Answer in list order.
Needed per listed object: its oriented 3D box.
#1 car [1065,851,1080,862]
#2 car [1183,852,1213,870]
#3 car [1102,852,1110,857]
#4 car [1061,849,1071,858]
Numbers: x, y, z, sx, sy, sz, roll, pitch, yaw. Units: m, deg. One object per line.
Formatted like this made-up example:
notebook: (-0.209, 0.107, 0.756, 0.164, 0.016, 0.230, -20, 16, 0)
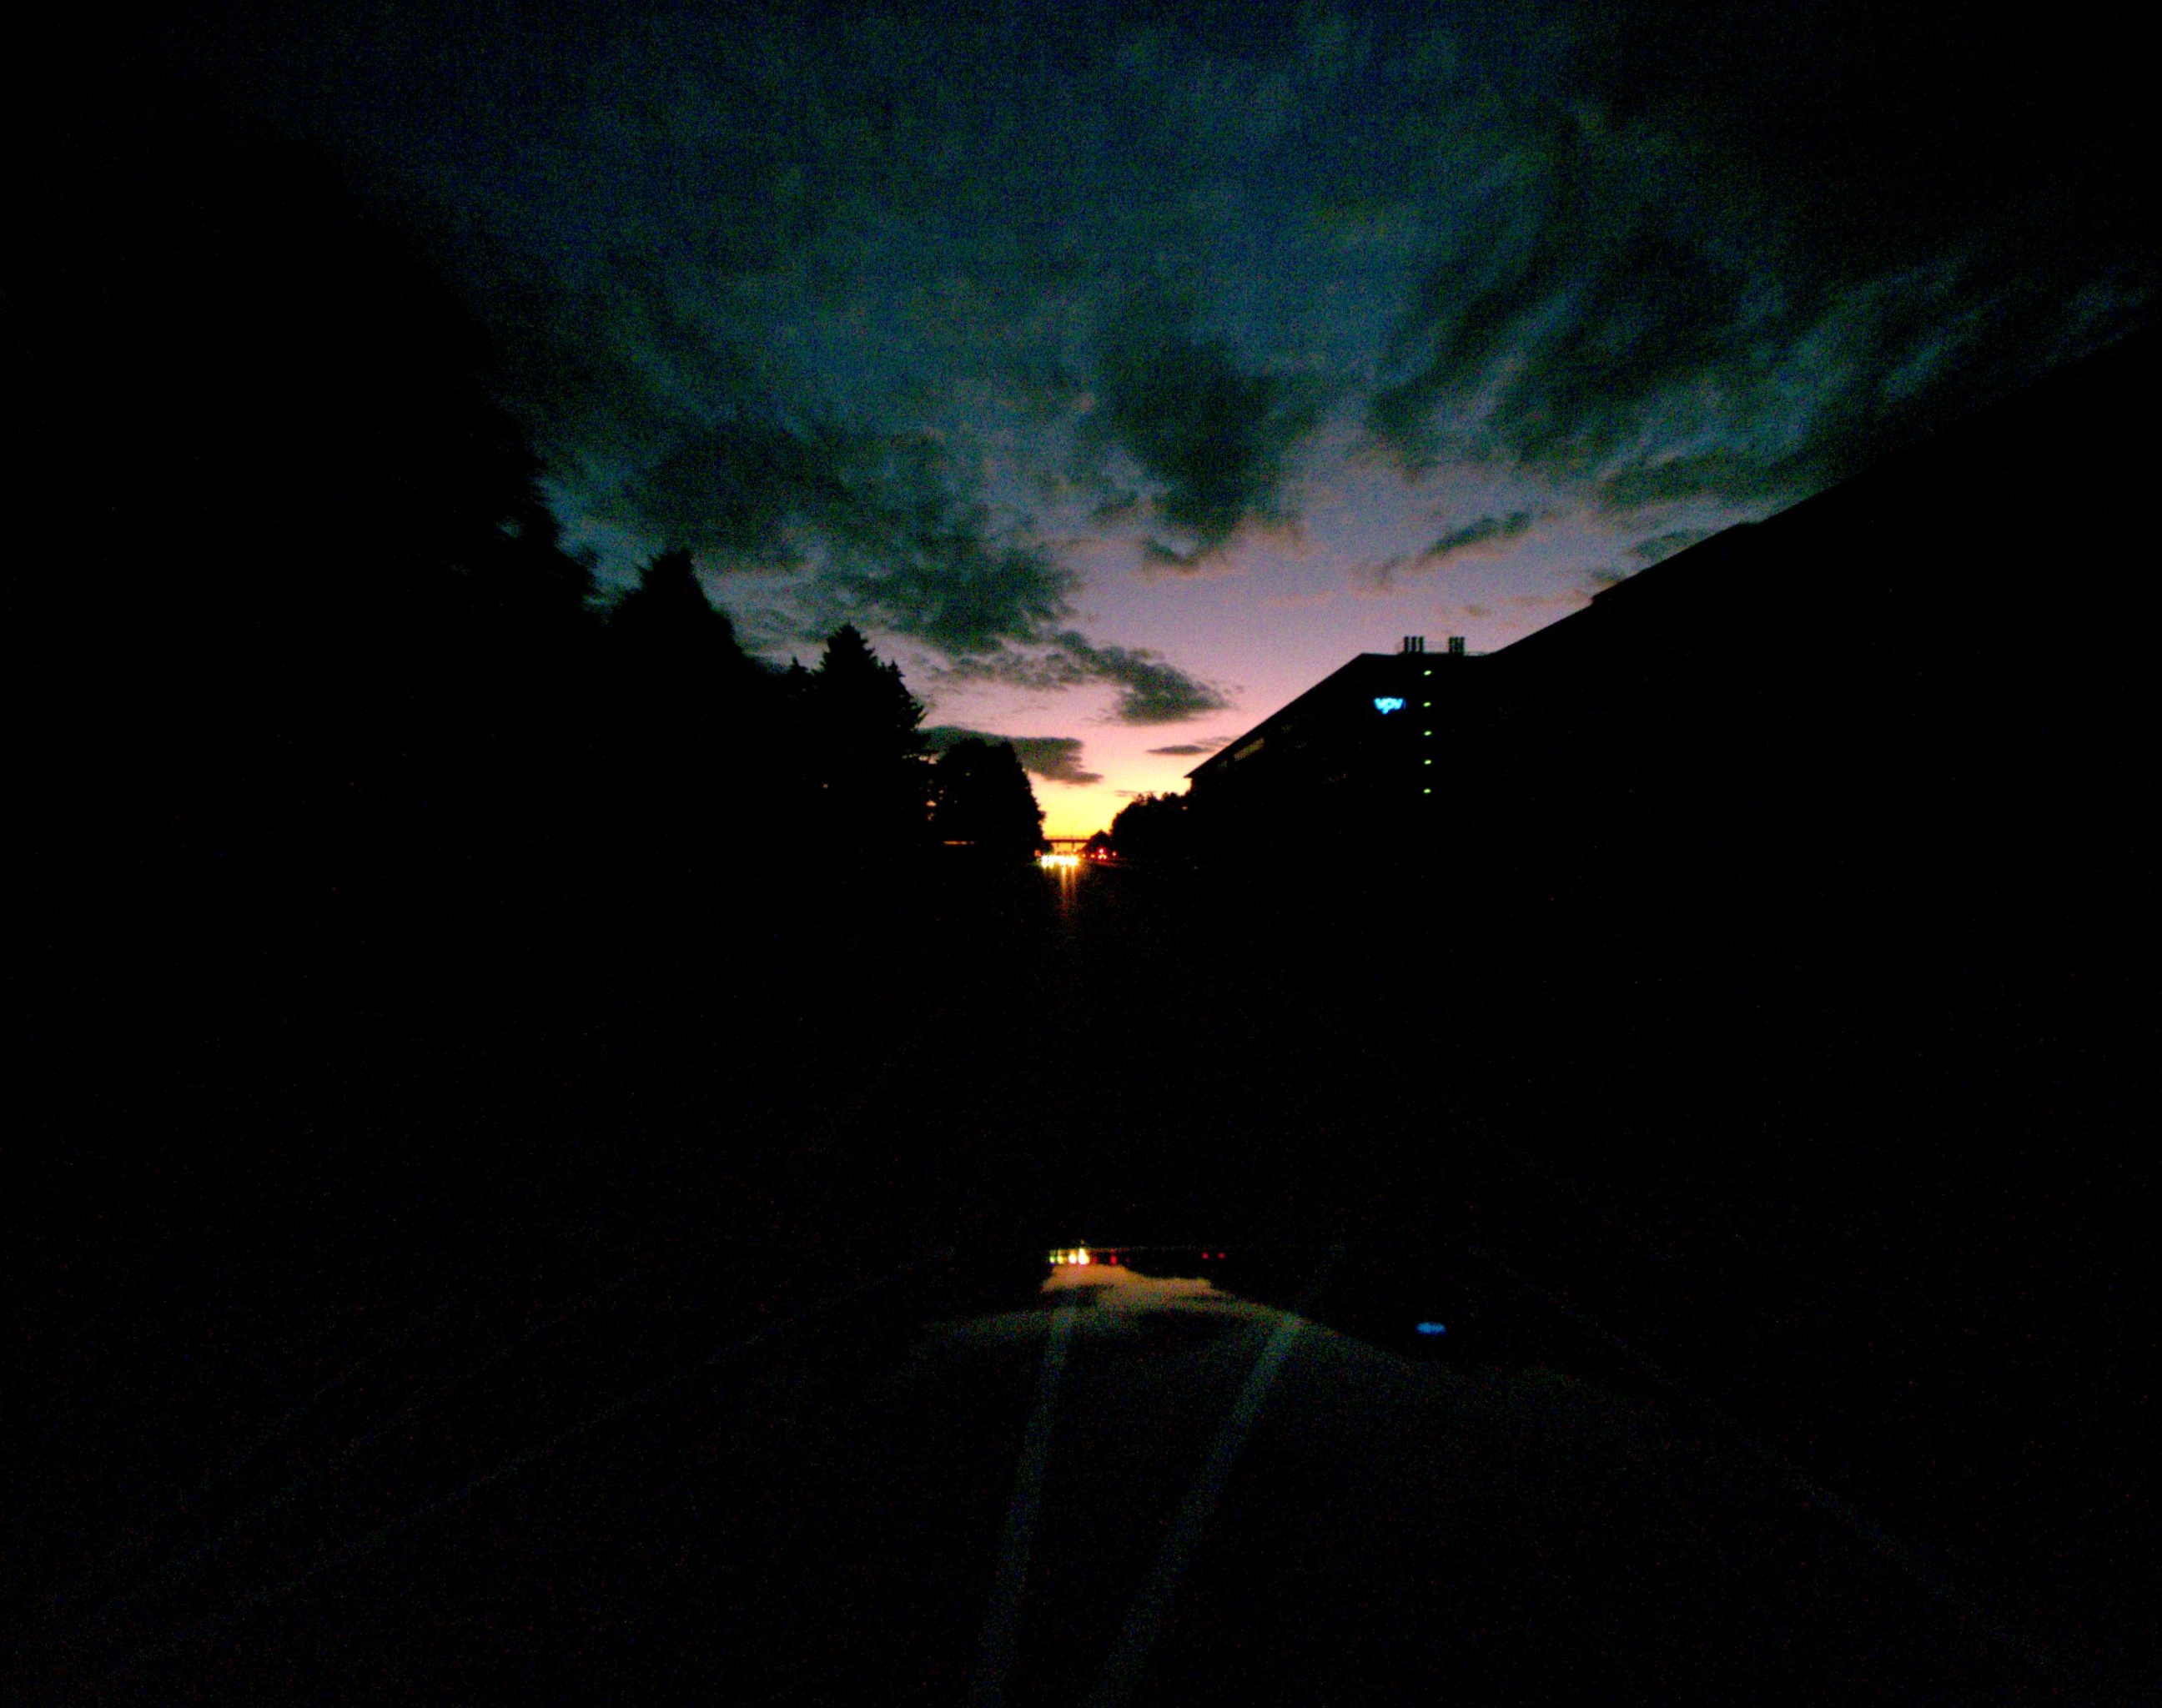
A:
car: (-1.060, 0.332, 96.570, 1.756, 1.447, 3.803, 0, 0, 0)
car: (9.949, 0.578, 64.899, 1.840, 1.460, 3.844, 2, 0, -1)
car: (6.640, 0.051, 202.056, 1.693, 1.372, 3.571, 0, 0, -1)
car: (-3.579, -0.202, 179.150, 1.861, 2.002, 4.001, -3, 0, 6)
